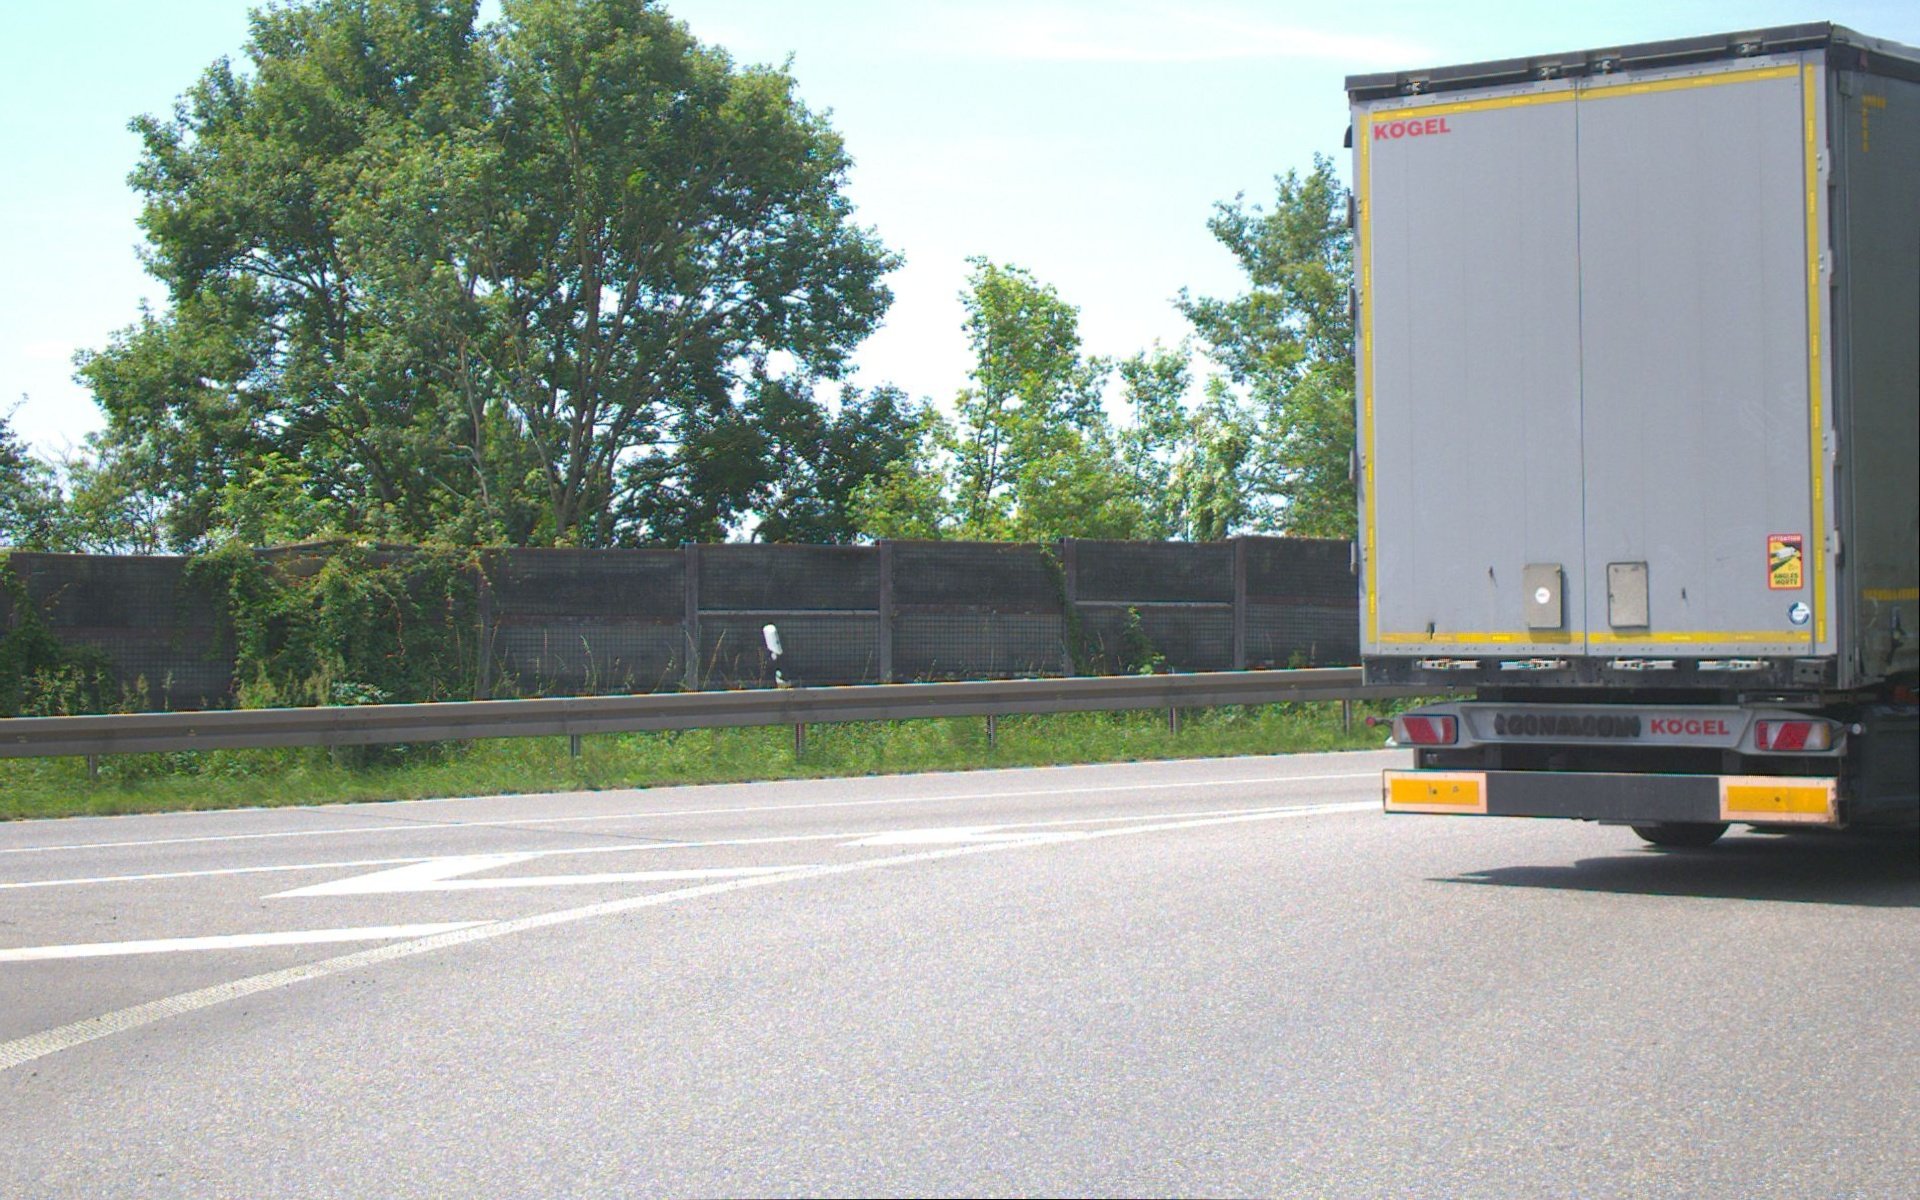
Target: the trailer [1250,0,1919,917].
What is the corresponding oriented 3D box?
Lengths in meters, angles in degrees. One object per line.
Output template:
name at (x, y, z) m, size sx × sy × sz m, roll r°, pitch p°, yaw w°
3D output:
trailer at (6.746, -0.660, 21.093) m, size 3.034 × 4.021 × 13.322 m, roll 0°, pitch 0°, yaw 38°
